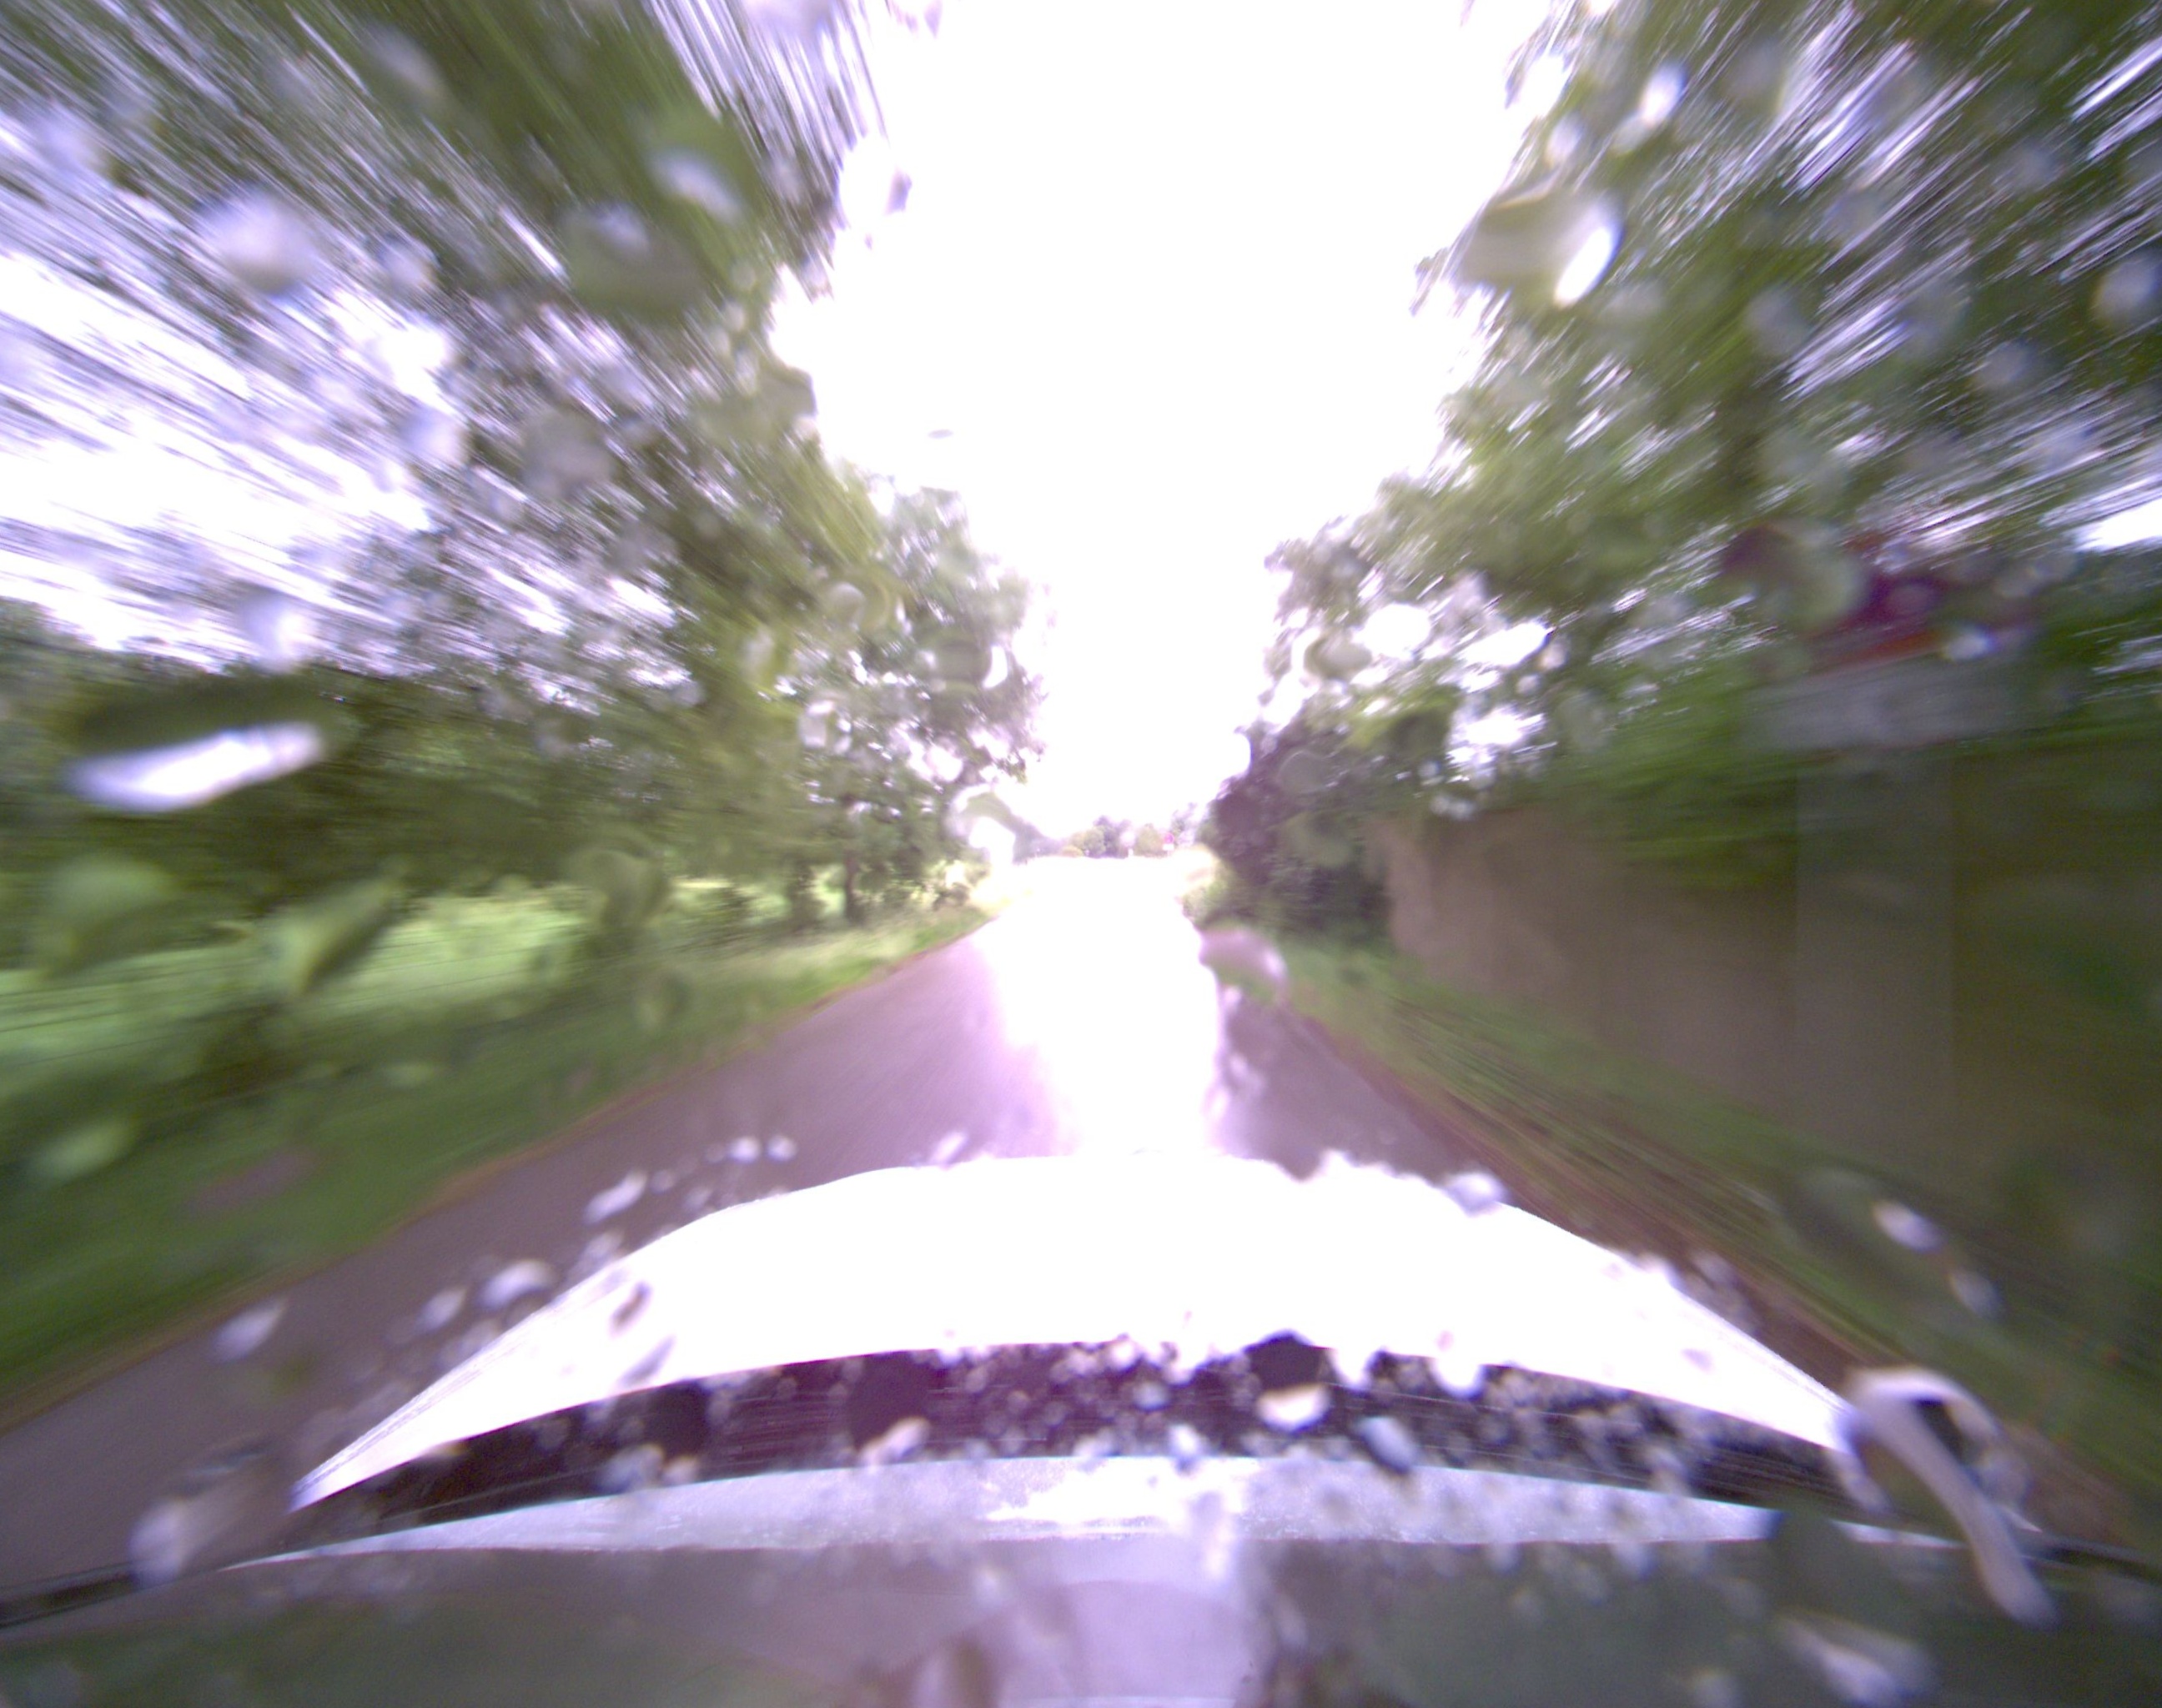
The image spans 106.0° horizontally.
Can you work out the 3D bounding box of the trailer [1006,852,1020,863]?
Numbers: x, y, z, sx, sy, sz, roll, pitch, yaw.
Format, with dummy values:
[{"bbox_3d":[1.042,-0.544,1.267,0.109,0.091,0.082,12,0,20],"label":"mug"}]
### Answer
[{"bbox_3d":[-9.304,0.470,110.892,1.750,1.505,3.081,-1,0,-8],"label":"trailer"}]
